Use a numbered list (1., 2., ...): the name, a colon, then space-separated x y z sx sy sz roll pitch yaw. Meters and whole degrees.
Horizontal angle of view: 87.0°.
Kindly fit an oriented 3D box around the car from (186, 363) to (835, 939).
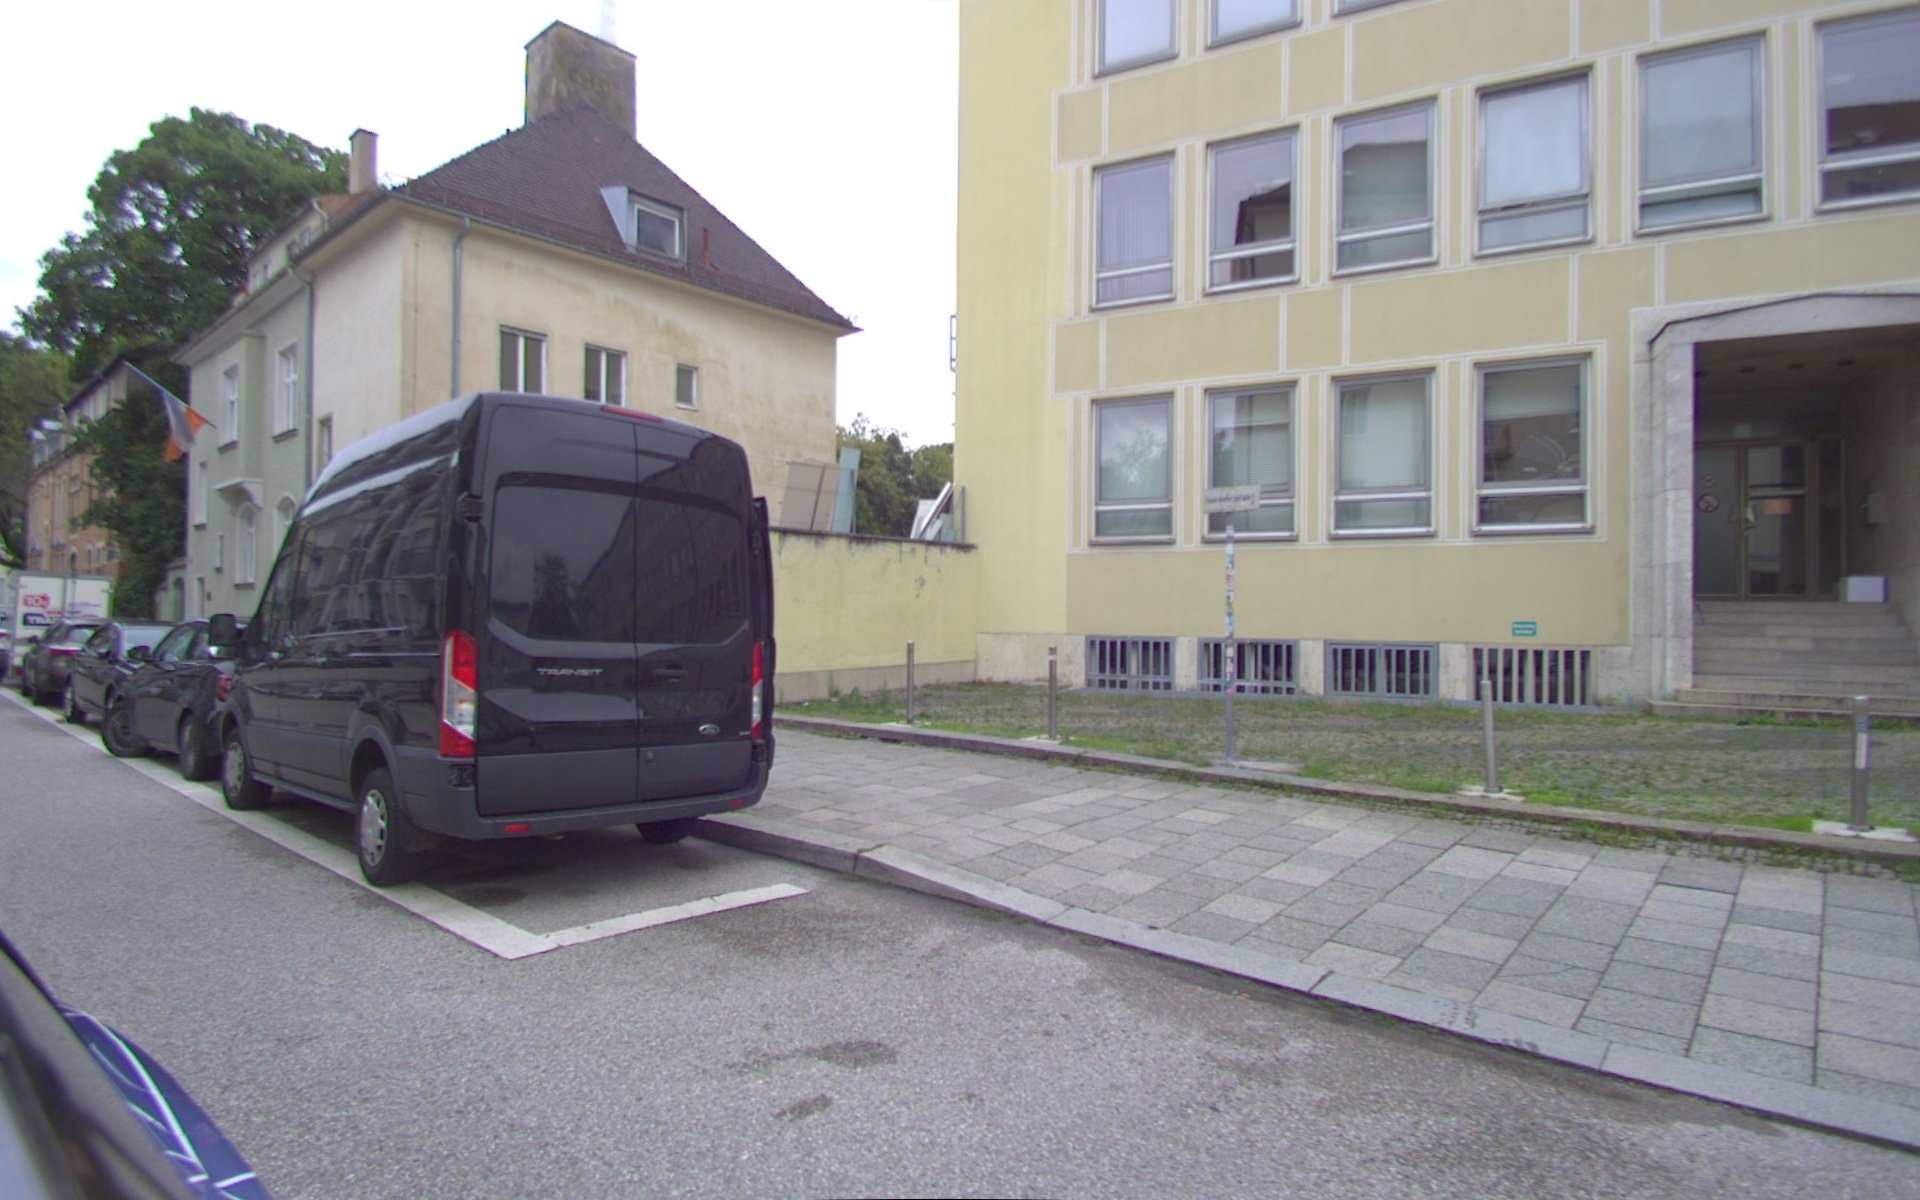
1. car: -3.645 0.303 7.454 5.653 2.666 2.272 -1 -3 43

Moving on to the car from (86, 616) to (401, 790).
1. car: -7.503 0.918 10.520 3.484 1.505 1.686 -1 -1 37

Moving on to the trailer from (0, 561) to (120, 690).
1. trailer: -19.709 0.575 22.038 1.792 2.555 3.391 6 -5 -43

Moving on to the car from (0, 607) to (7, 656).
1. car: -36.374 1.138 37.096 3.649 1.747 1.794 -1 -1 42

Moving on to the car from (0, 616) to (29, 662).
1. car: -32.155 1.264 33.289 3.926 1.463 1.794 -1 -1 41

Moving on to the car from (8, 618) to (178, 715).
1. car: -15.627 1.095 18.148 4.643 1.511 1.793 -1 -2 43

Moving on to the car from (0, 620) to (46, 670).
1. car: -27.656 1.268 29.052 3.746 1.357 1.793 -1 -1 43

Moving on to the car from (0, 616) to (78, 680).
1. car: -23.792 1.170 25.599 3.841 1.525 1.744 -1 -2 42

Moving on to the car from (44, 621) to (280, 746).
1. car: -11.006 1.034 13.871 4.066 1.436 1.676 -1 -2 39
